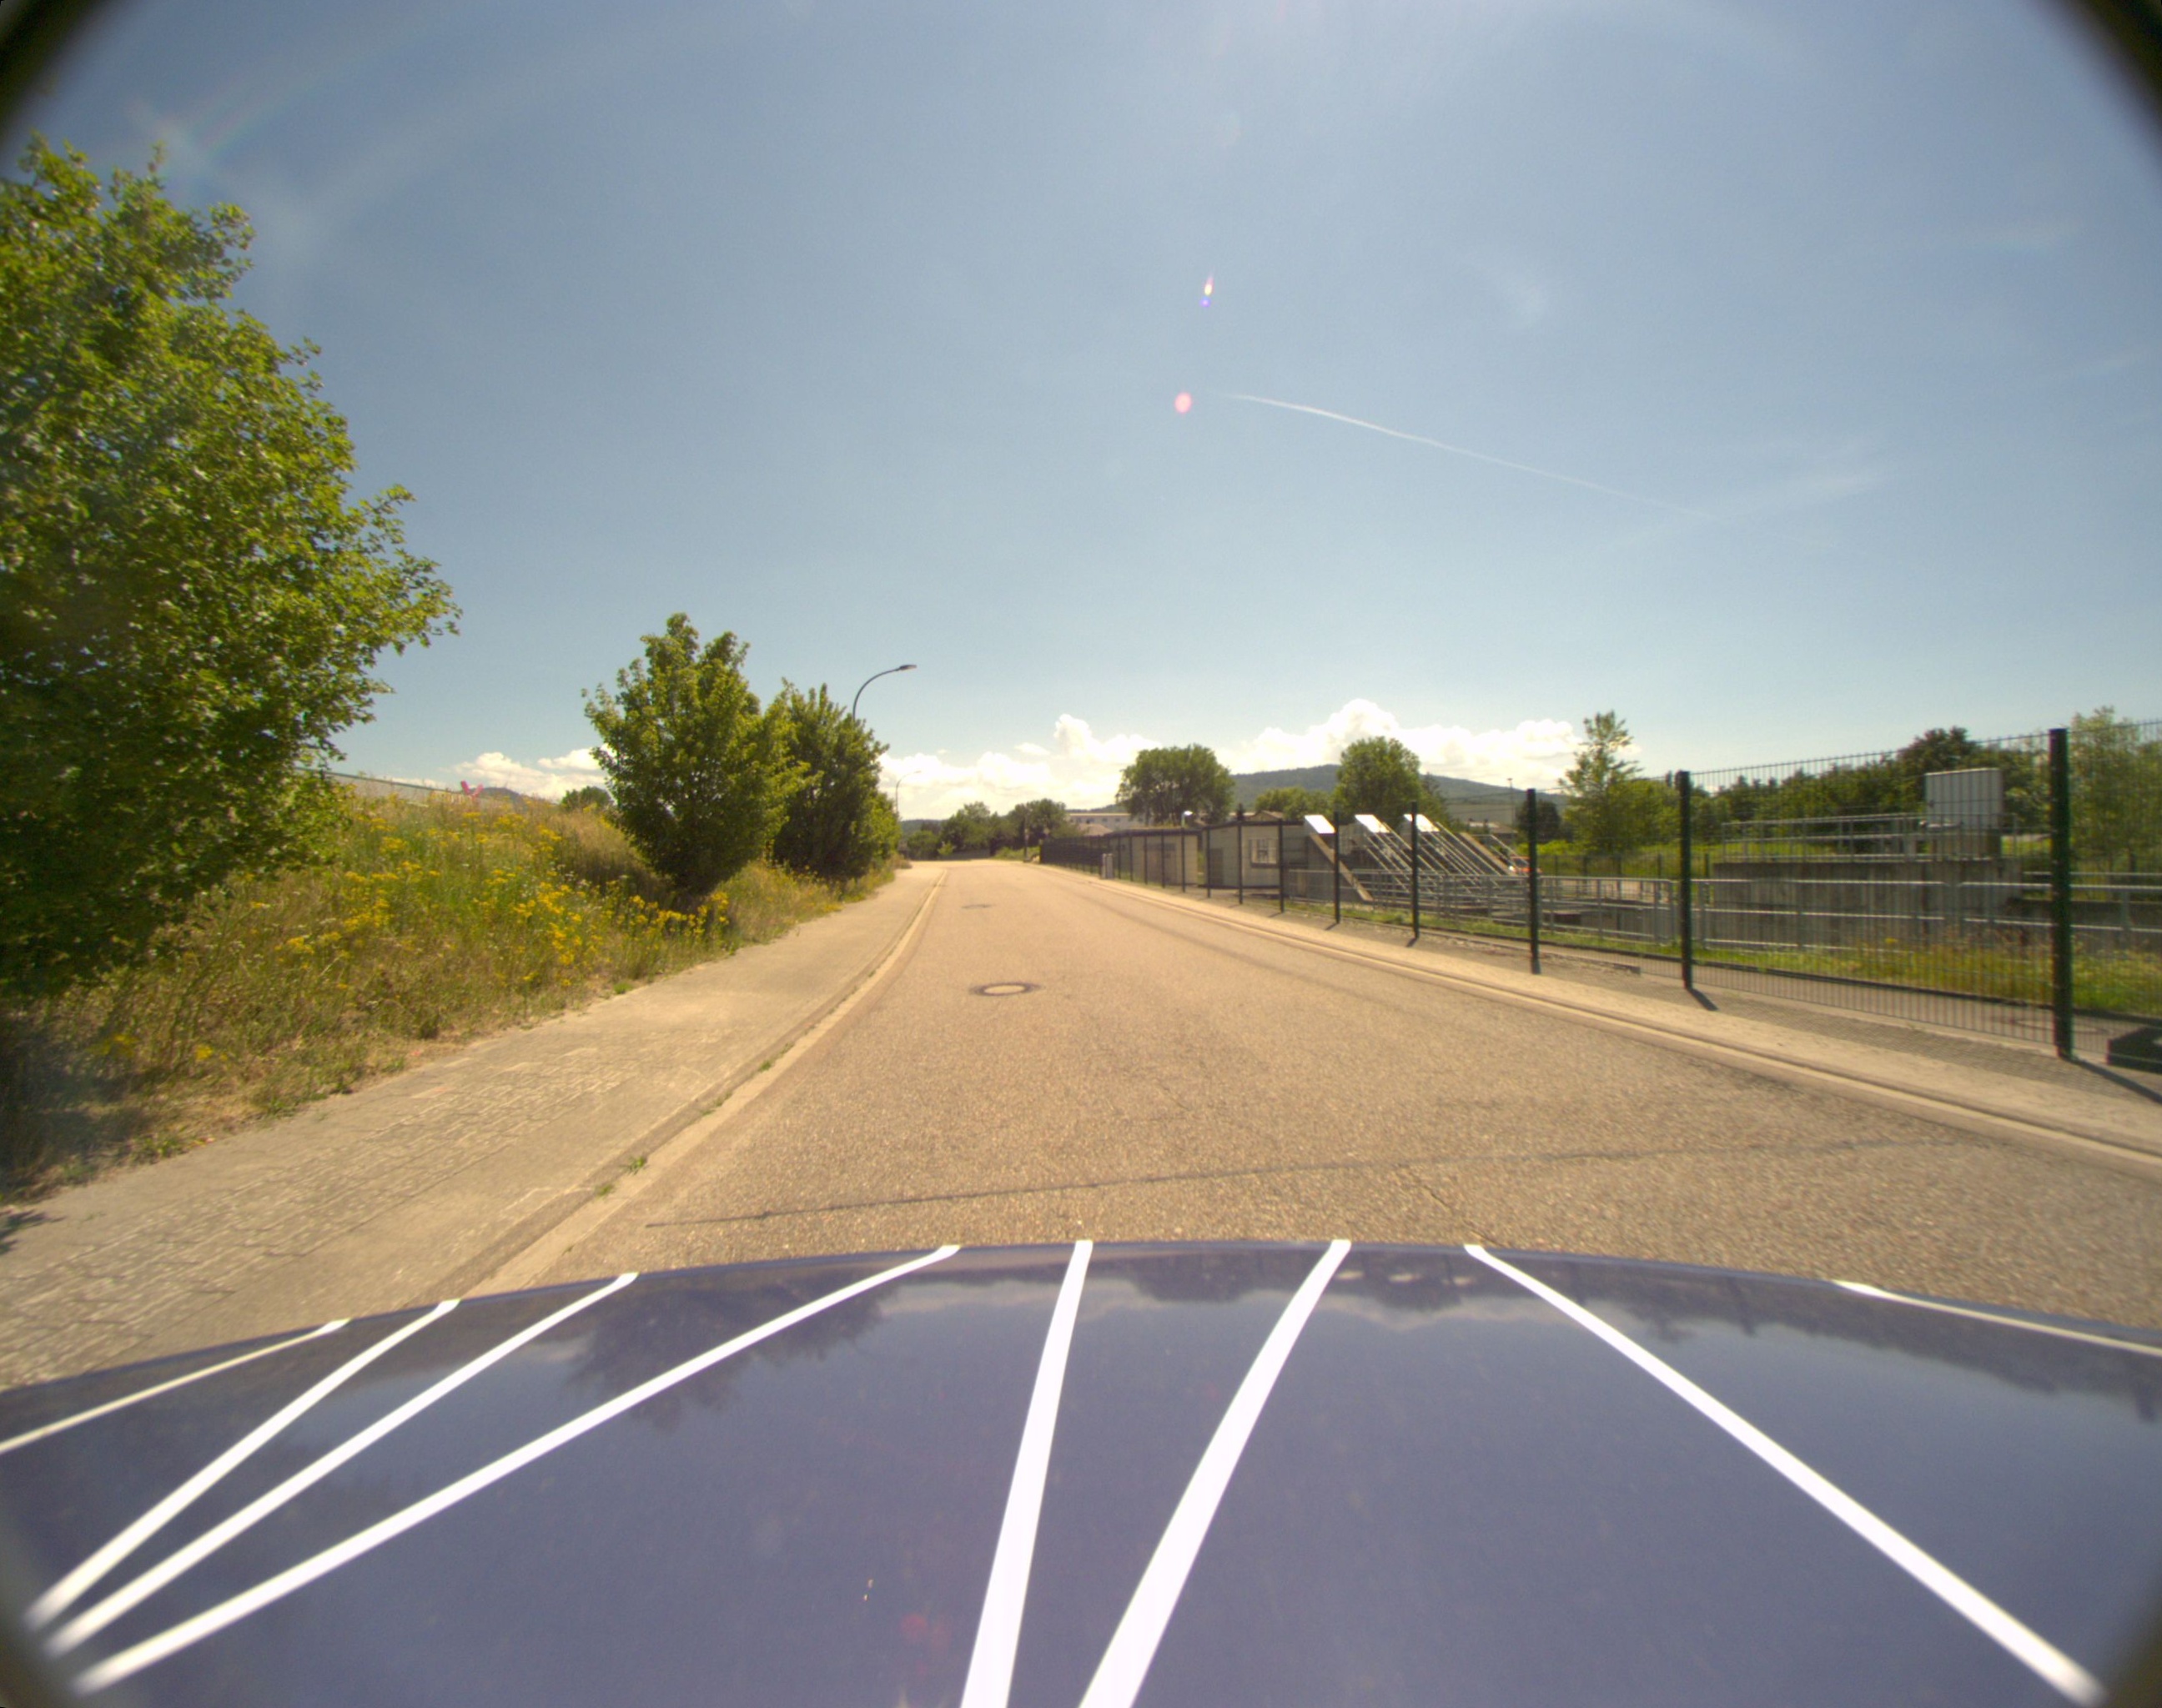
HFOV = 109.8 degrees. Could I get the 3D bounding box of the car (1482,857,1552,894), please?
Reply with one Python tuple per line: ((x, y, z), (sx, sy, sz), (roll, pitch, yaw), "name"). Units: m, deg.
((26.122, 1.230, 45.738), (1.997, 2.002, 4.866), (2, 0, 9), "car")
